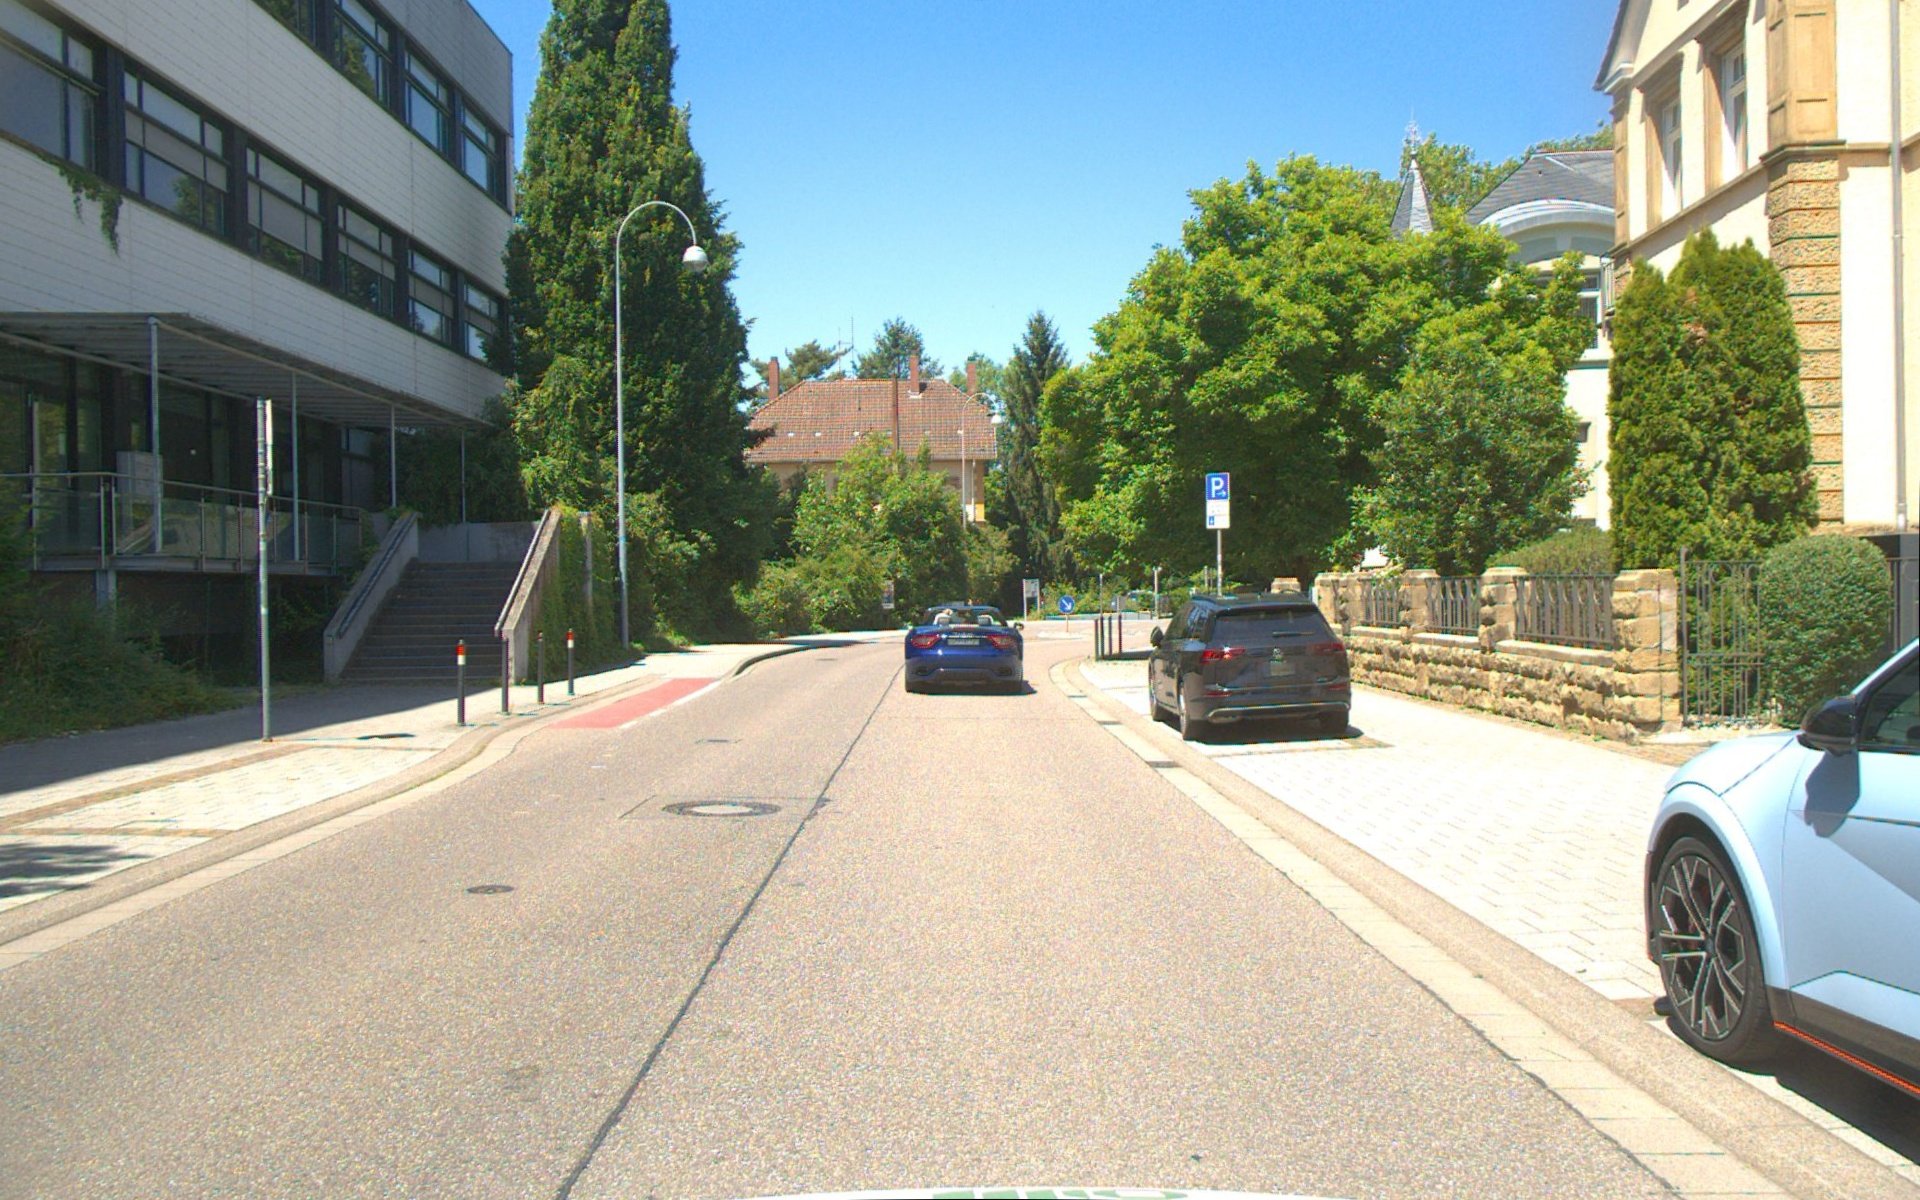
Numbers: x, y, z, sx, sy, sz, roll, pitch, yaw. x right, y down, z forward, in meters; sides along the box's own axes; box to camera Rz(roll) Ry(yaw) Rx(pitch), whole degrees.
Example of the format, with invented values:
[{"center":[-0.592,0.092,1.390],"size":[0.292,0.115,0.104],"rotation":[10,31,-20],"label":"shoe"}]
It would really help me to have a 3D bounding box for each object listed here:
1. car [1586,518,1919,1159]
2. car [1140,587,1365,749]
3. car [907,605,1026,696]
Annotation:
[{"center":[3.336,0.570,4.127],"size":[1.806,1.647,4.427],"rotation":[-3,0,0],"label":"car"},{"center":[3.101,0.652,18.378],"size":[1.599,1.471,4.397],"rotation":[-4,0,-1],"label":"car"},{"center":[0.077,0.773,27.306],"size":[1.789,1.360,4.699],"rotation":[0,0,-1],"label":"car"}]
